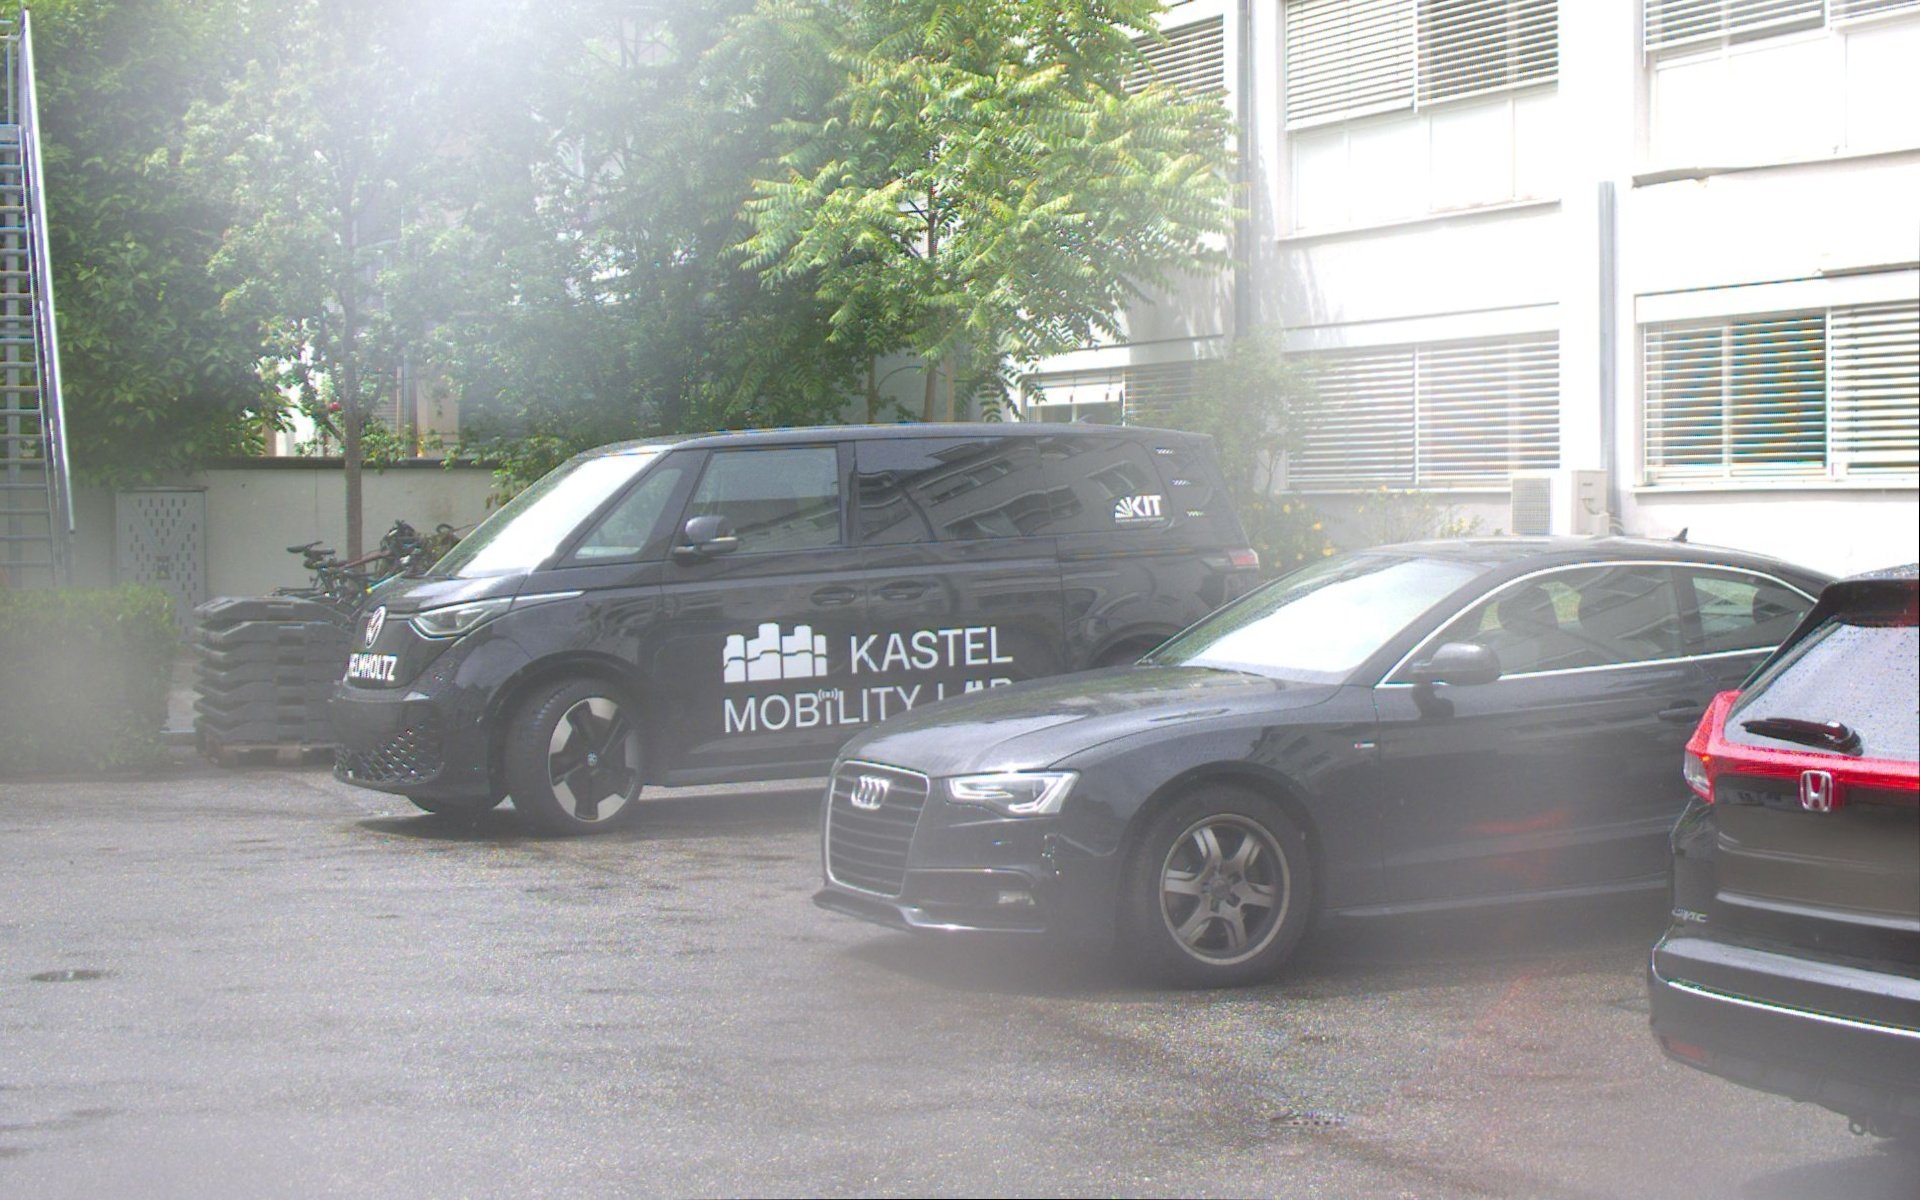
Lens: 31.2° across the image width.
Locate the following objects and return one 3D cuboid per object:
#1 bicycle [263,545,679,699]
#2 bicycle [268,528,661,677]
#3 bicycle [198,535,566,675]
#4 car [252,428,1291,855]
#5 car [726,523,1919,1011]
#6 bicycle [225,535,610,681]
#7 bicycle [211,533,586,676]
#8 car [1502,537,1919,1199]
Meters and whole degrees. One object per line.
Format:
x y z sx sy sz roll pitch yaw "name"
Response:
-3.578 0.163 25.244 2.922 1.074 0.689 1 2 -21 "bicycle"
-3.741 0.024 26.013 2.842 1.074 0.689 1 2 -21 "bicycle"
-4.678 0.047 27.884 2.842 1.074 0.689 1 2 -21 "bicycle"
-0.935 0.108 17.205 4.709 1.827 2.111 -2 2 -25 "car"
1.566 0.456 11.914 4.353 1.344 1.861 -2 3 -25 "car"
-4.190 0.067 26.617 2.842 1.074 0.689 1 2 -21 "bicycle"
-4.446 0.040 27.284 2.842 1.074 0.689 1 2 -21 "bicycle"
3.525 0.536 7.723 4.169 1.396 1.940 -2 2 -25 "car"
